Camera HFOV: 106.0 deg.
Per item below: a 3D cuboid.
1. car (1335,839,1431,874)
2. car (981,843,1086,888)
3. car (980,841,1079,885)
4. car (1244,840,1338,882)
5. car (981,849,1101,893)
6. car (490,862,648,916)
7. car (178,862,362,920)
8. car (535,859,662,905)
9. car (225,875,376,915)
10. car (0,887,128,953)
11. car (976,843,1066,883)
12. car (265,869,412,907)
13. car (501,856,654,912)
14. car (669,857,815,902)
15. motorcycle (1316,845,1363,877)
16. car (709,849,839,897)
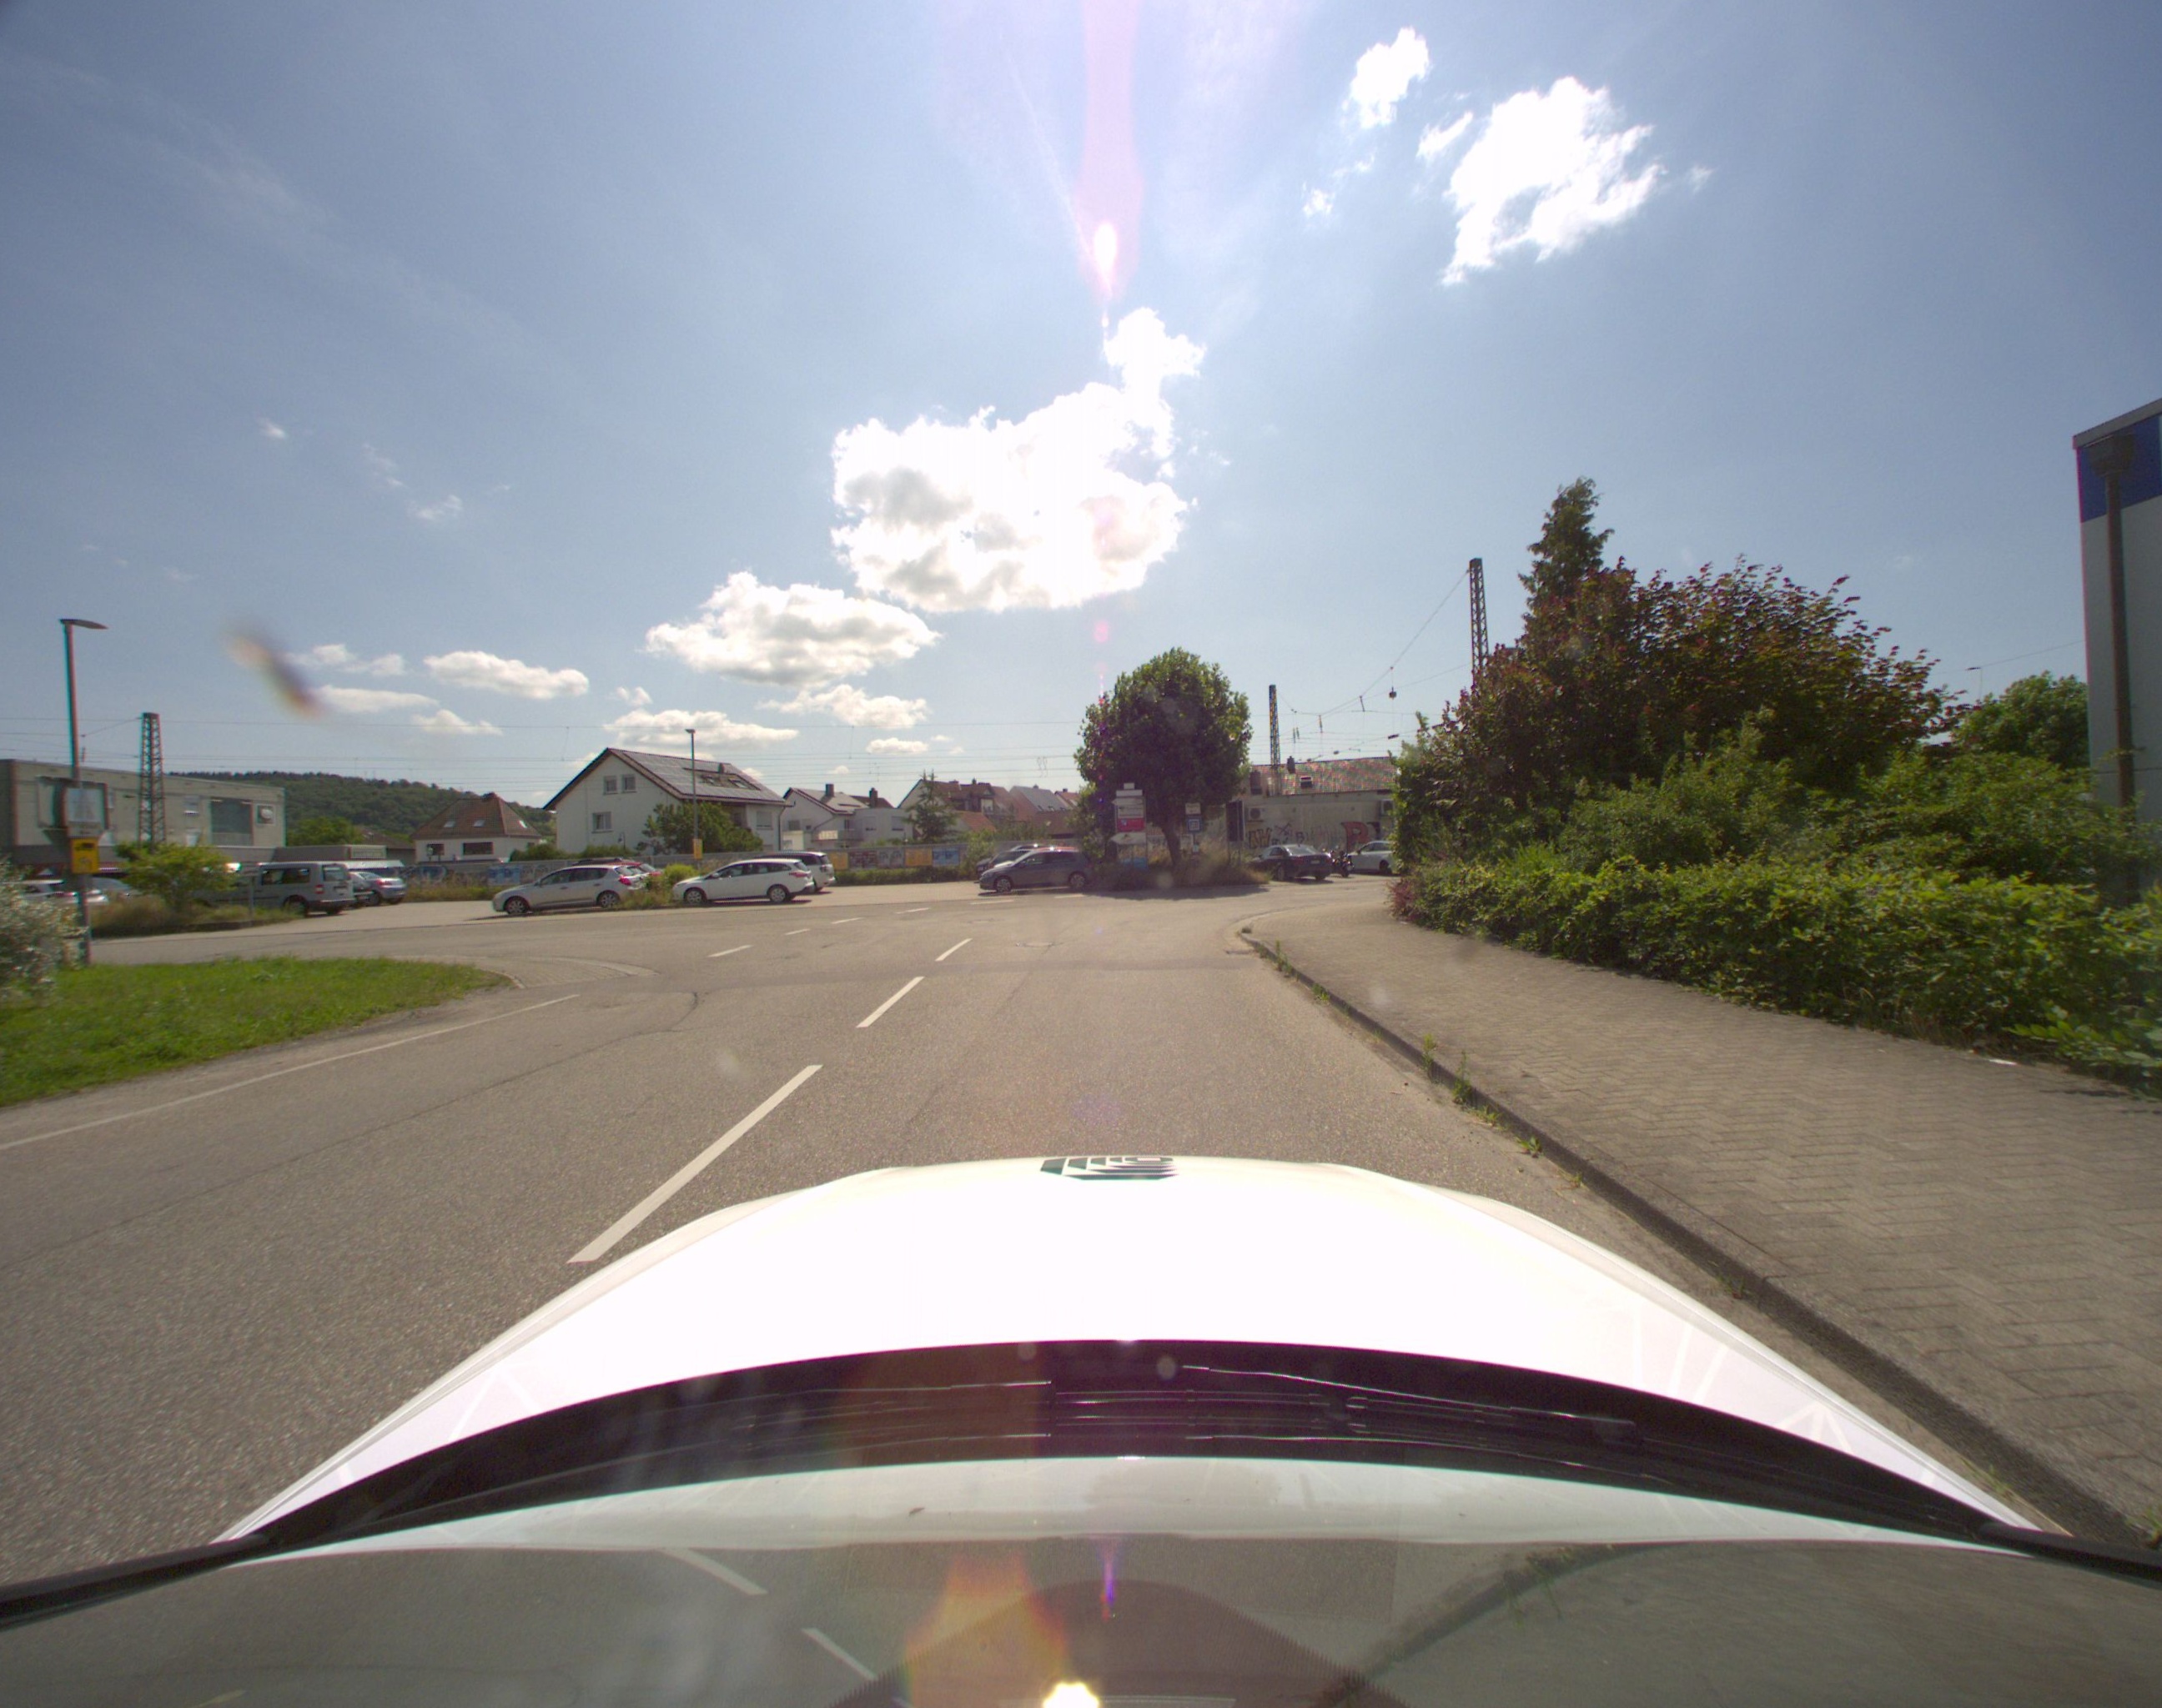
[{"bbox_3d":[12.680,0.062,34.435,1.707,1.377,4.091,-1,1,-17],"label":"car"},{"bbox_3d":[-1.914,0.453,32.117,3.984,1.586,1.775,-2,-1,-7],"label":"car"},{"bbox_3d":[-2.220,0.366,34.499,3.984,1.657,1.995,-2,0,-8],"label":"car"},{"bbox_3d":[8.256,0.220,32.386,1.756,1.385,3.977,-1,3,-18],"label":"car"},{"bbox_3d":[-1.467,0.590,29.453,4.183,1.463,1.661,-1,-1,-7],"label":"car"},{"bbox_3d":[-16.787,1.117,26.902,4.009,1.562,1.813,-2,0,-16],"label":"car"},{"bbox_3d":[-27.174,1.208,27.431,3.987,1.815,1.899,0,1,-10],"label":"car"},{"bbox_3d":[-18.555,1.040,31.461,3.785,1.558,1.688,-2,0,-12],"label":"car"},{"bbox_3d":[-28.512,1.464,29.842,3.657,1.222,1.669,-2,0,-8],"label":"car"},{"bbox_3d":[-34.368,2.154,26.407,3.993,1.891,1.990,-2,0,-14],"label":"car"},{"bbox_3d":[-2.763,0.398,36.960,3.984,1.730,1.765,0,-1,-8],"label":"car"},{"bbox_3d":[-29.098,1.307,32.031,3.983,1.420,1.680,0,-1,-7],"label":"car"},{"bbox_3d":[-17.890,1.041,29.151,4.168,1.638,1.945,-4,0,-15],"label":"car"},{"bbox_3d":[-11.453,0.840,27.792,4.283,1.477,1.821,0,-1,-10],"label":"car"},{"bbox_3d":[10.535,0.268,33.291,0.898,1.228,1.987,-2,2,-14],"label":"motorcycle"},{"bbox_3d":[-12.129,0.712,32.450,4.447,1.690,1.996,-1,1,-7],"label":"car"}]
